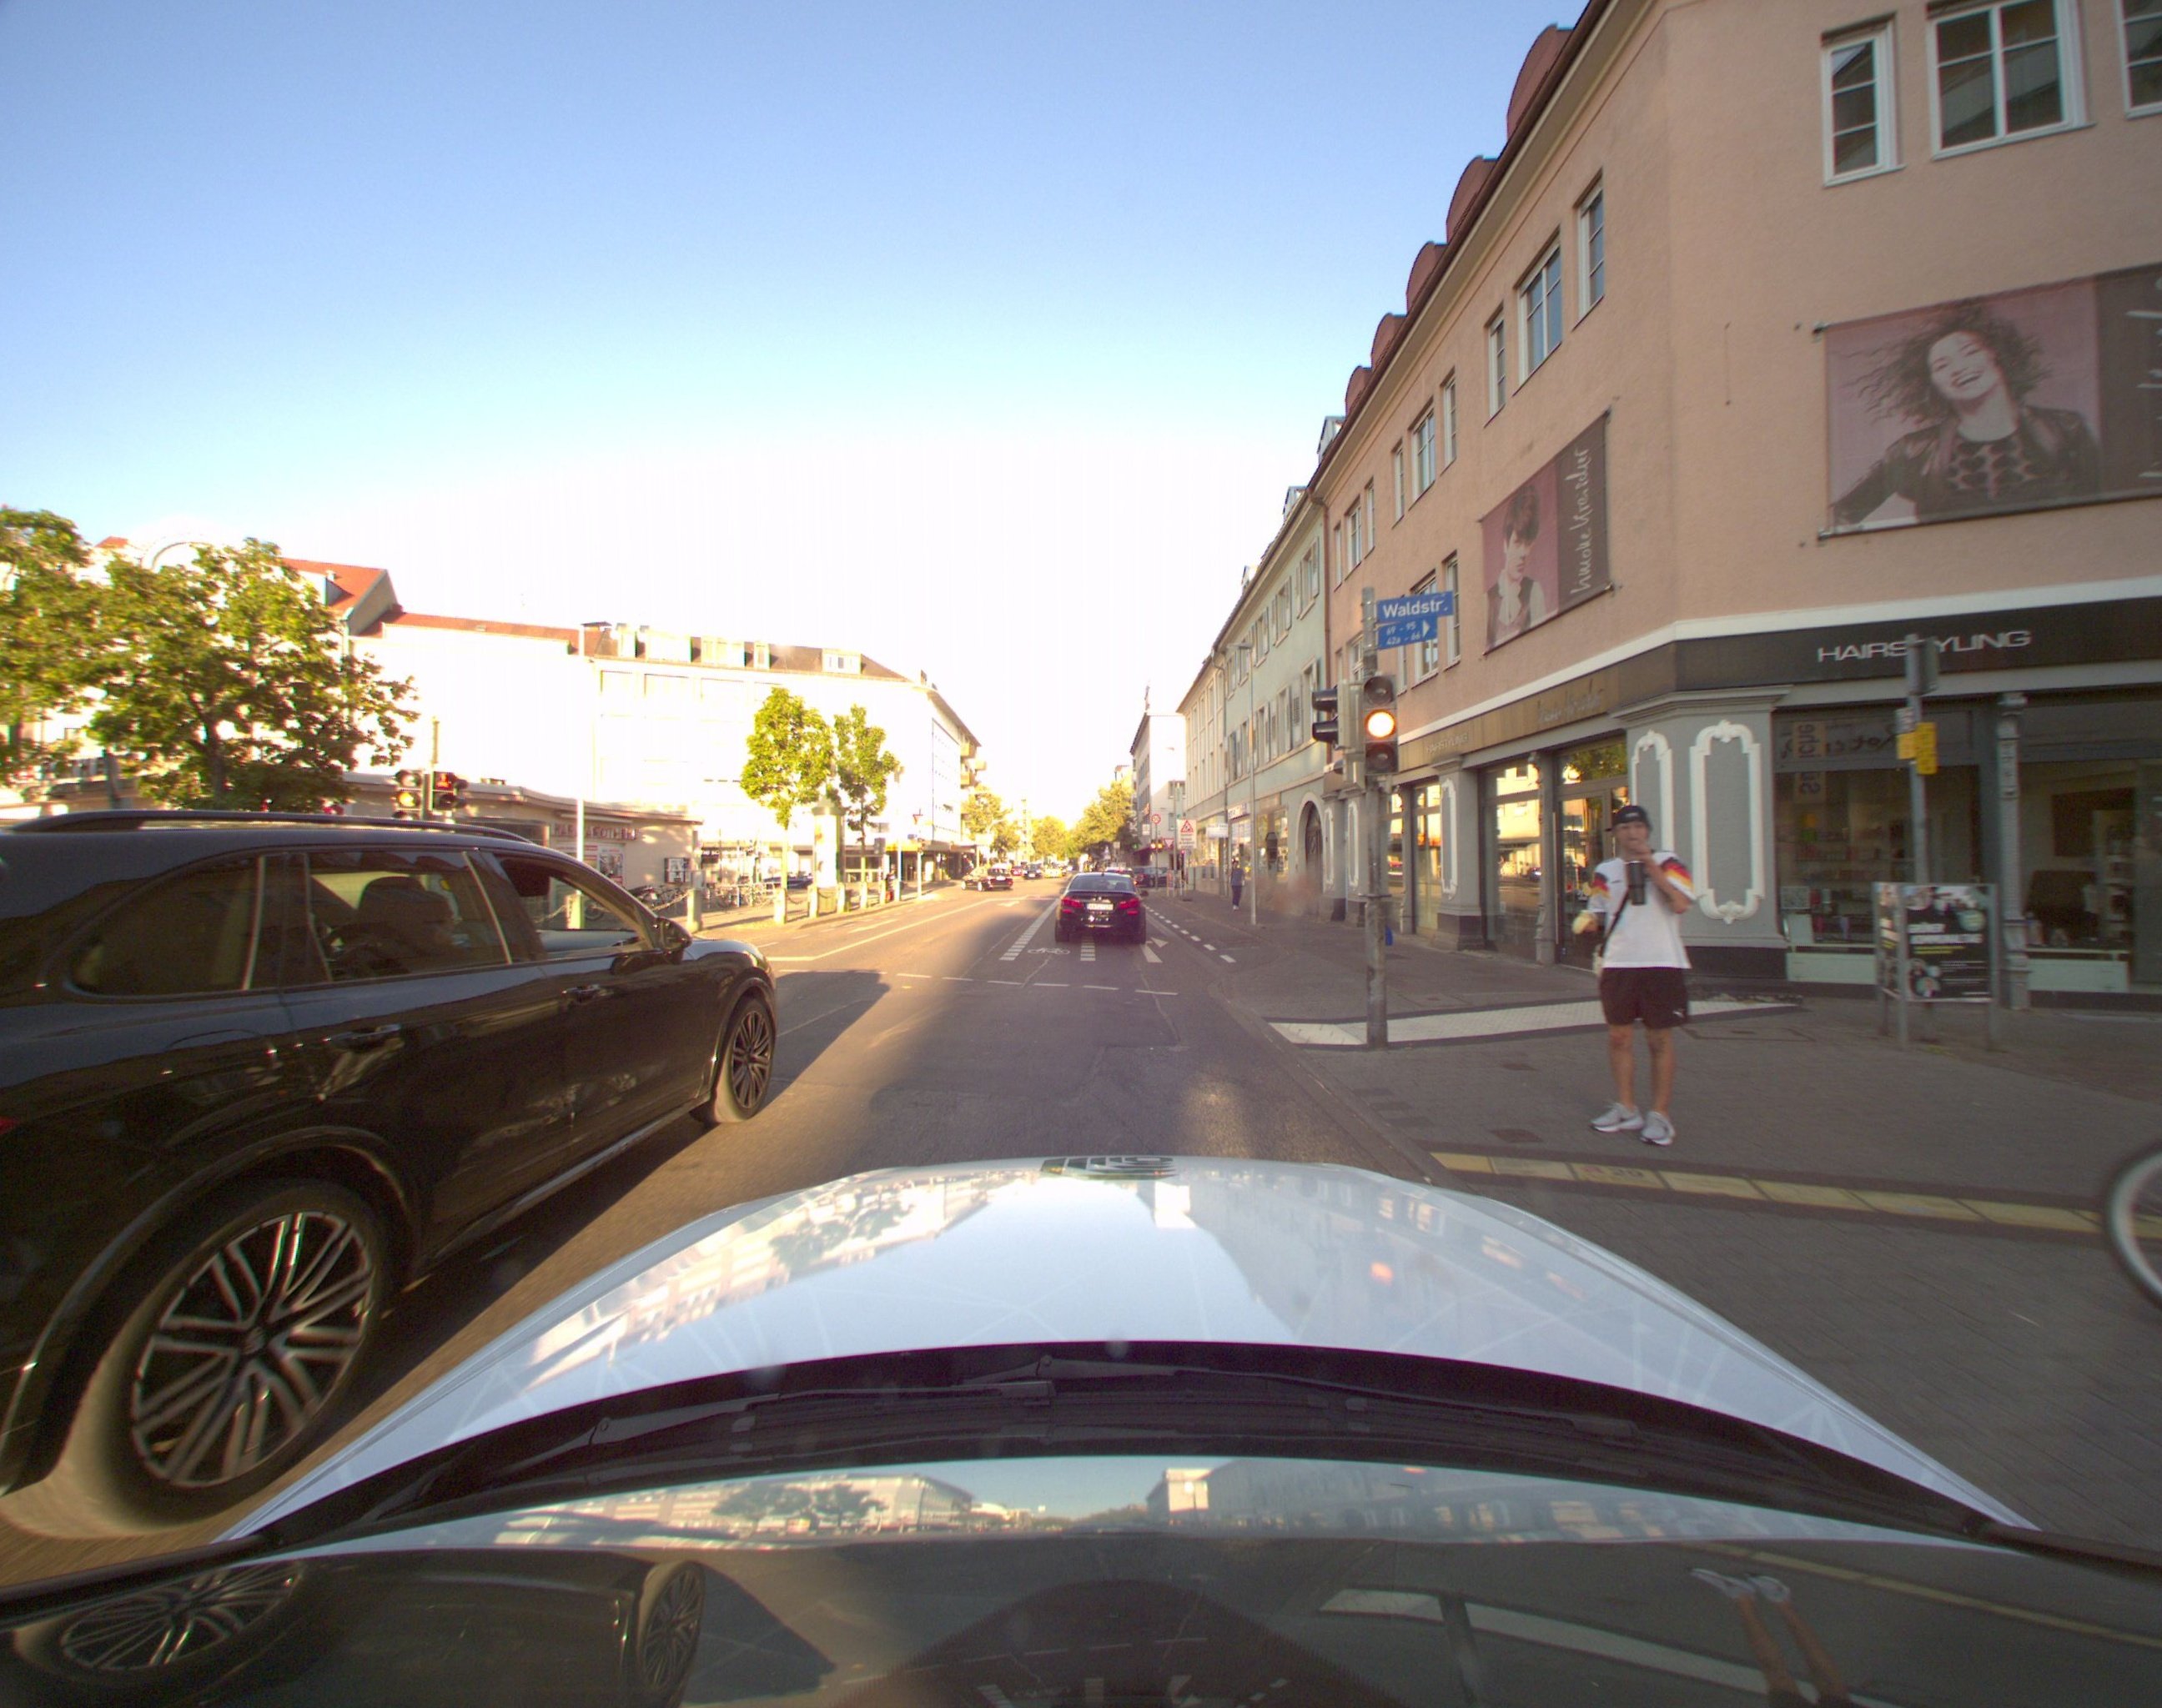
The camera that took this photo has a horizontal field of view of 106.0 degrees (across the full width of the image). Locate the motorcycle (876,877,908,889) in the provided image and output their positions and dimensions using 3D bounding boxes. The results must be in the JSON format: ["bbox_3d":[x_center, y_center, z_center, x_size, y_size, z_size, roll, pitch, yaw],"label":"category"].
[{"bbox_3d":[-12.516,1.892,53.822,2.010,0.780,0.667,0,-1,18],"label":"motorcycle"}]

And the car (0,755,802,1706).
[{"bbox_3d":[-2.924,0.714,3.343,1.942,1.714,4.561,-1,-1,0],"label":"car"}]

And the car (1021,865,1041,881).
[{"bbox_3d":[-5.206,1.981,84.351,1.991,1.618,3.992,0,-1,-6],"label":"car"}]

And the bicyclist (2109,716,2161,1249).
[{"bbox_3d":[4.066,0.433,2.454,0.828,1.826,0.833,-1,-1,8],"label":"bicyclist"}]

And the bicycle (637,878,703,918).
[{"bbox_3d":[-13.591,1.443,26.963,1.847,1.256,0.633,-1,-1,1],"label":"bicycle"}]

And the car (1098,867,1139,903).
[{"bbox_3d":[1.739,1.412,38.445,1.826,1.576,4.101,0,-1,2],"label":"car"}]

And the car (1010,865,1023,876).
[{"bbox_3d":[-8.859,2.198,111.339,1.731,1.462,3.992,0,-1,-5],"label":"car"}]

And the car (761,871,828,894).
[{"bbox_3d":[-19.394,1.909,55.342,3.987,1.486,1.993,0,-1,-10],"label":"car"}]

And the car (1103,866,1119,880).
[{"bbox_3d":[3.168,2.000,86.704,1.620,1.471,3.394,0,-1,0],"label":"car"}]

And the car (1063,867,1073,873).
[{"bbox_3d":[-2.890,3.490,181.401,1.731,1.293,3.992,0,-1,-5],"label":"car"}]

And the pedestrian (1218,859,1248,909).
[{"bbox_3d":[5.163,1.007,27.666,0.821,1.642,0.871,-1,-1,-2],"label":"pedestrian"}]

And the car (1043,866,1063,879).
[{"bbox_3d":[-3.119,2.045,89.886,1.991,1.442,3.992,0,-1,-6],"label":"car"}]

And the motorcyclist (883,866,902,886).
[{"bbox_3d":[-12.433,1.467,53.755,0.983,1.320,0.772,-1,-1,21],"label":"motorcyclist"}]

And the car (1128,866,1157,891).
[{"bbox_3d":[4.220,1.638,55.440,1.823,1.576,4.107,0,-1,6],"label":"car"}]

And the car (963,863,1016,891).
[{"bbox_3d":[-5.586,1.362,49.276,1.882,1.595,4.411,0,-1,-26],"label":"car"}]

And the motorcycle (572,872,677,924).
[{"bbox_3d":[-13.284,1.277,23.755,2.572,1.430,0.868,-1,-1,1],"label":"motorcycle"}]

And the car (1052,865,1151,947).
[{"bbox_3d":[0.374,1.044,18.157,1.898,1.540,4.447,2,-1,-1],"label":"car"}]

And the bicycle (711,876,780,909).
[{"bbox_3d":[-13.500,1.547,32.805,2.434,1.256,0.787,-1,-1,1],"label":"bicycle"}]

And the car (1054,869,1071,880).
[{"bbox_3d":[-2.167,2.430,96.649,1.731,1.293,3.992,0,-1,-5],"label":"car"}]

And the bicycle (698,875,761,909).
[{"bbox_3d":[-13.607,1.443,31.528,1.998,1.256,0.950,-1,-1,1],"label":"bicycle"}]

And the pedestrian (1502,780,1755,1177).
[{"bbox_3d":[3.015,0.600,4.509,0.944,1.898,0.817,0,-1,-33],"label":"pedestrian"}]

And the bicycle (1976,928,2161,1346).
[{"bbox_3d":[4.105,0.846,2.430,1.809,1.186,0.795,-1,-1,9],"label":"bicycle"}]

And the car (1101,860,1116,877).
[{"bbox_3d":[3.163,1.684,93.117,1.418,1.855,3.049,1,-1,-3],"label":"car"}]

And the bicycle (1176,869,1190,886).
[{"bbox_3d":[6.764,1.548,54.193,0.688,1.107,1.896,-1,-1,1],"label":"bicycle"}]

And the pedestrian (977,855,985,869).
[{"bbox_3d":[-11.757,0.922,95.682,0.821,1.676,0.871,-1,-1,-1],"label":"pedestrian"}]
